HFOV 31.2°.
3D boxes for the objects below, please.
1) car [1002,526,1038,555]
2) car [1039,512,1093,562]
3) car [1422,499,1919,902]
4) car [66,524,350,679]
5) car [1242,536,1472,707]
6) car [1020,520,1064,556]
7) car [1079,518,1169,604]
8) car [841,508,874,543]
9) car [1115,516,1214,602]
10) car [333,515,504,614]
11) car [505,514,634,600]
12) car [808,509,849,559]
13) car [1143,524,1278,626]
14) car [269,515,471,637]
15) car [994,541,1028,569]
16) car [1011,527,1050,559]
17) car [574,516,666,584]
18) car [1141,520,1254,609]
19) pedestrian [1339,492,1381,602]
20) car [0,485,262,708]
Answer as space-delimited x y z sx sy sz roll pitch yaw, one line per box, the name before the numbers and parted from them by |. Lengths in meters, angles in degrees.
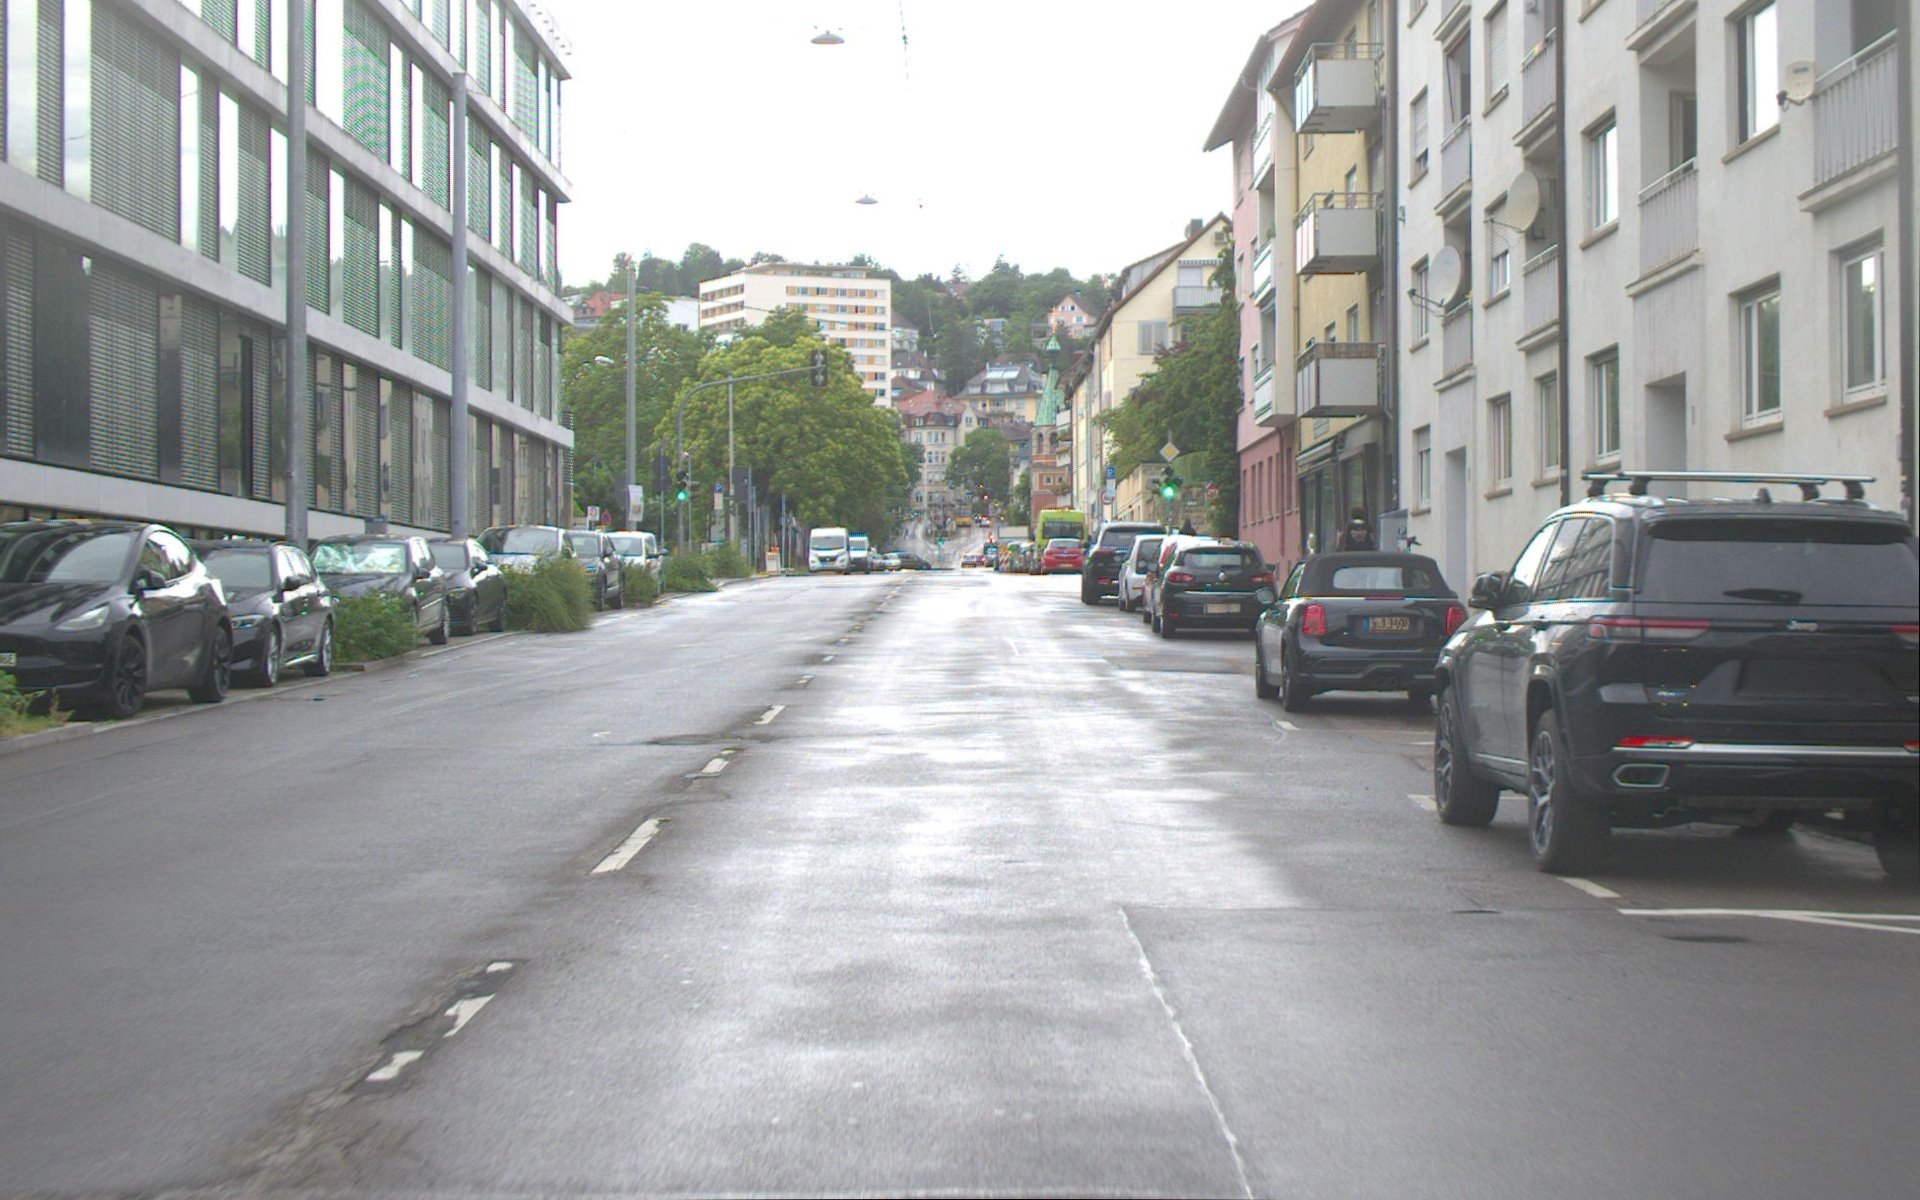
car | 3.375 -3.370 194.063 1.867 1.598 4.189 1 1 3
car | 3.838 -2.264 124.001 1.867 1.764 4.189 1 1 3
car | 3.668 0.401 17.499 1.935 1.744 4.797 1 1 0
car | -7.679 -0.030 35.557 1.871 1.467 4.741 1 1 0
car | 3.654 0.156 32.214 1.673 1.454 3.765 0 2 -1
car | 3.811 -2.853 159.339 1.867 1.598 4.189 1 1 3
car | 3.436 -0.847 72.453 1.655 1.732 4.180 0 2 0
car | -6.526 -4.735 218.561 1.866 2.134 4.359 1 1 -4
car | 3.875 -0.798 65.742 1.635 1.566 3.711 1 1 0
car | -8.016 -0.545 51.247 1.837 1.391 4.392 1 1 0
car | -7.563 -0.832 66.927 1.802 1.598 4.234 1 1 3
car | -6.868 -3.450 179.710 2.105 2.537 4.751 1 1 -2
car | 3.743 -0.395 51.824 1.706 1.449 3.985 1 1 0
car | -7.647 -0.335 44.901 1.863 1.484 4.347 1 1 0
car | 3.002 -2.654 202.233 1.867 1.598 4.189 1 1 3
car | 3.695 -2.956 178.868 1.867 1.598 4.189 1 1 3
car | -7.682 -1.152 77.846 1.595 1.454 3.719 1 2 2
car | 3.921 -0.610 57.128 1.582 1.409 3.654 1 1 0
pedestrian | 6.834 -0.900 58.753 0.639 1.864 0.538 1 1 2
car | -7.591 -0.079 29.603 1.963 1.744 4.942 1 1 2
